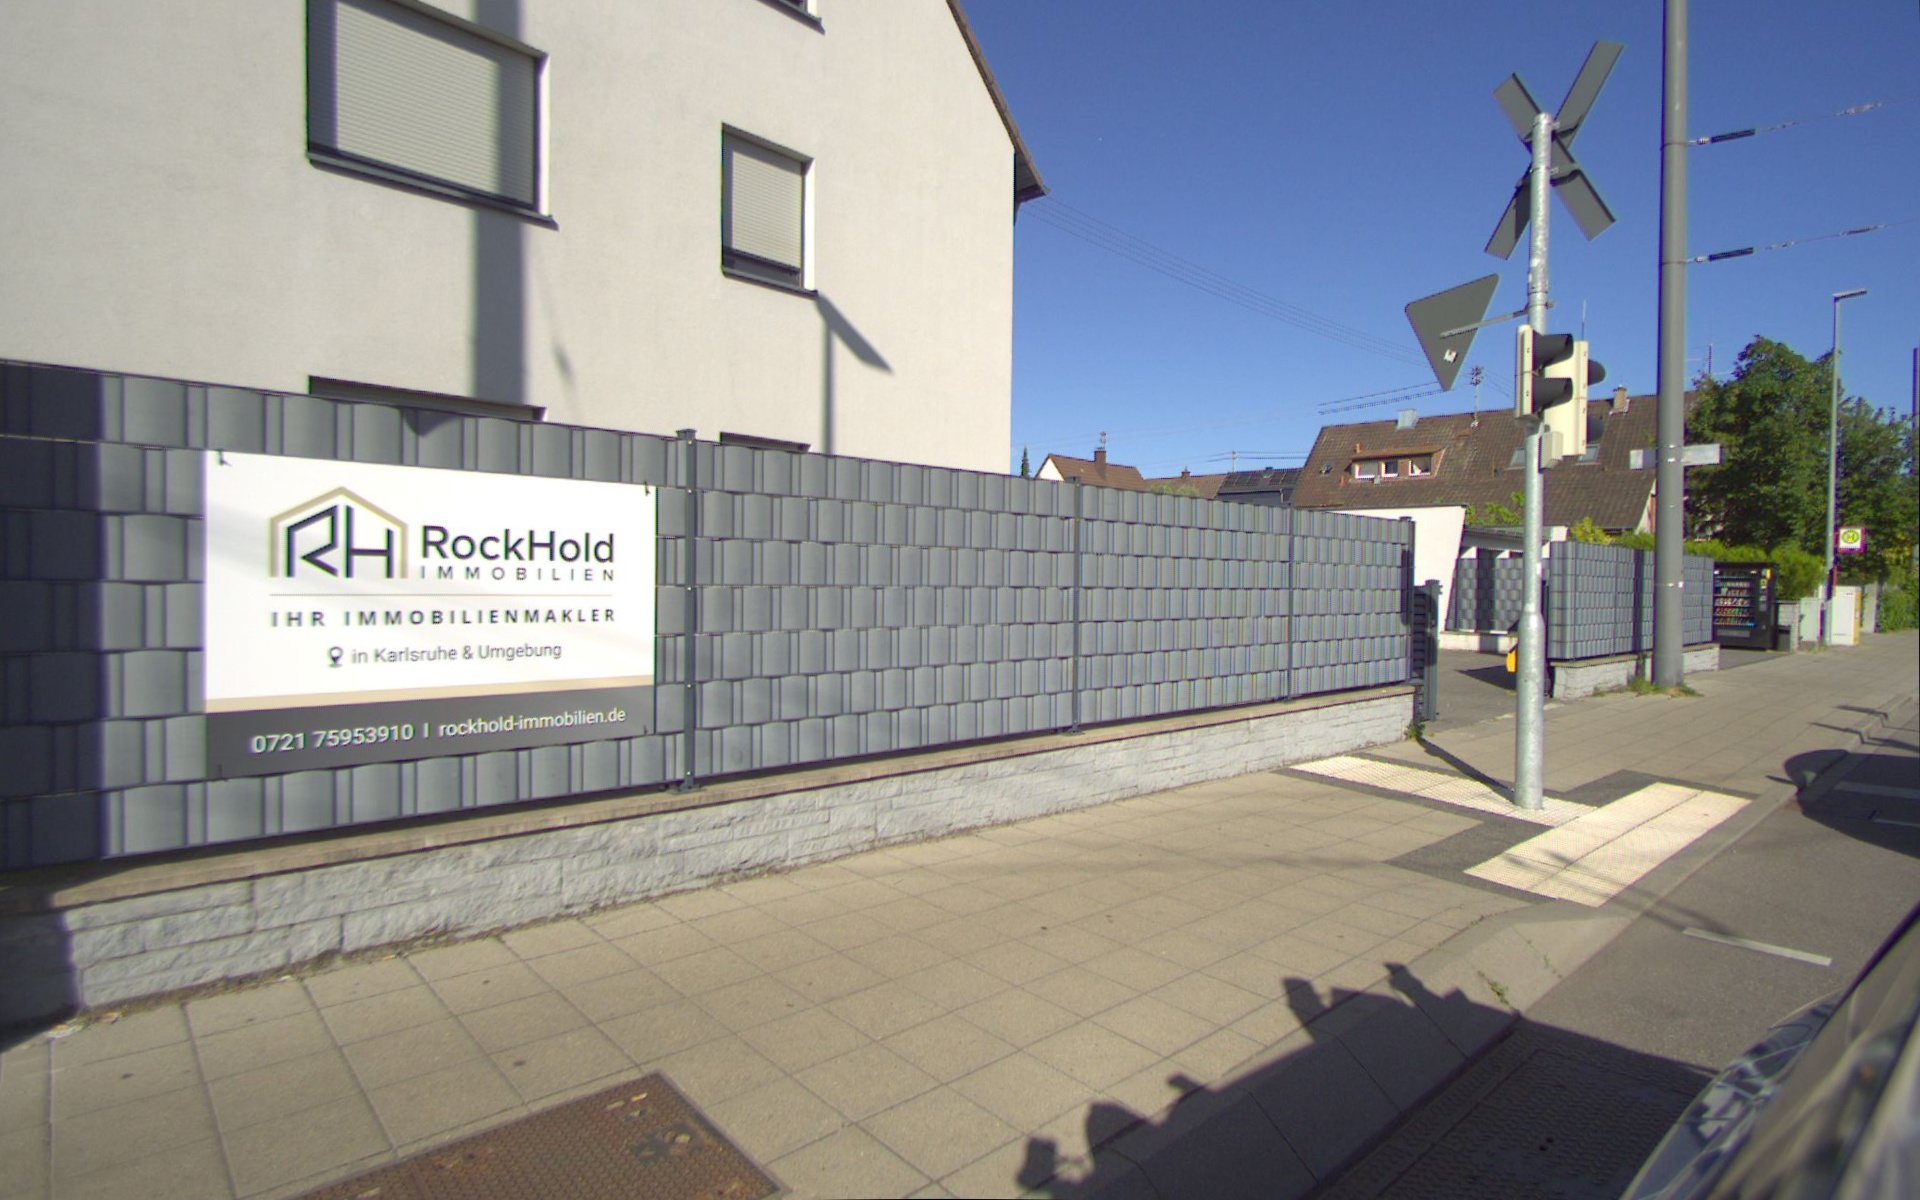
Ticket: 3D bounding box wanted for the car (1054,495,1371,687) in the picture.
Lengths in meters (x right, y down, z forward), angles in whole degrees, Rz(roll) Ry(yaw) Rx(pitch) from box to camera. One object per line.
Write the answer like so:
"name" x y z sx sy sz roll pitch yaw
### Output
"car" 3.637 -0.204 15.669 1.959 2.461 5.000 -2 2 -27
